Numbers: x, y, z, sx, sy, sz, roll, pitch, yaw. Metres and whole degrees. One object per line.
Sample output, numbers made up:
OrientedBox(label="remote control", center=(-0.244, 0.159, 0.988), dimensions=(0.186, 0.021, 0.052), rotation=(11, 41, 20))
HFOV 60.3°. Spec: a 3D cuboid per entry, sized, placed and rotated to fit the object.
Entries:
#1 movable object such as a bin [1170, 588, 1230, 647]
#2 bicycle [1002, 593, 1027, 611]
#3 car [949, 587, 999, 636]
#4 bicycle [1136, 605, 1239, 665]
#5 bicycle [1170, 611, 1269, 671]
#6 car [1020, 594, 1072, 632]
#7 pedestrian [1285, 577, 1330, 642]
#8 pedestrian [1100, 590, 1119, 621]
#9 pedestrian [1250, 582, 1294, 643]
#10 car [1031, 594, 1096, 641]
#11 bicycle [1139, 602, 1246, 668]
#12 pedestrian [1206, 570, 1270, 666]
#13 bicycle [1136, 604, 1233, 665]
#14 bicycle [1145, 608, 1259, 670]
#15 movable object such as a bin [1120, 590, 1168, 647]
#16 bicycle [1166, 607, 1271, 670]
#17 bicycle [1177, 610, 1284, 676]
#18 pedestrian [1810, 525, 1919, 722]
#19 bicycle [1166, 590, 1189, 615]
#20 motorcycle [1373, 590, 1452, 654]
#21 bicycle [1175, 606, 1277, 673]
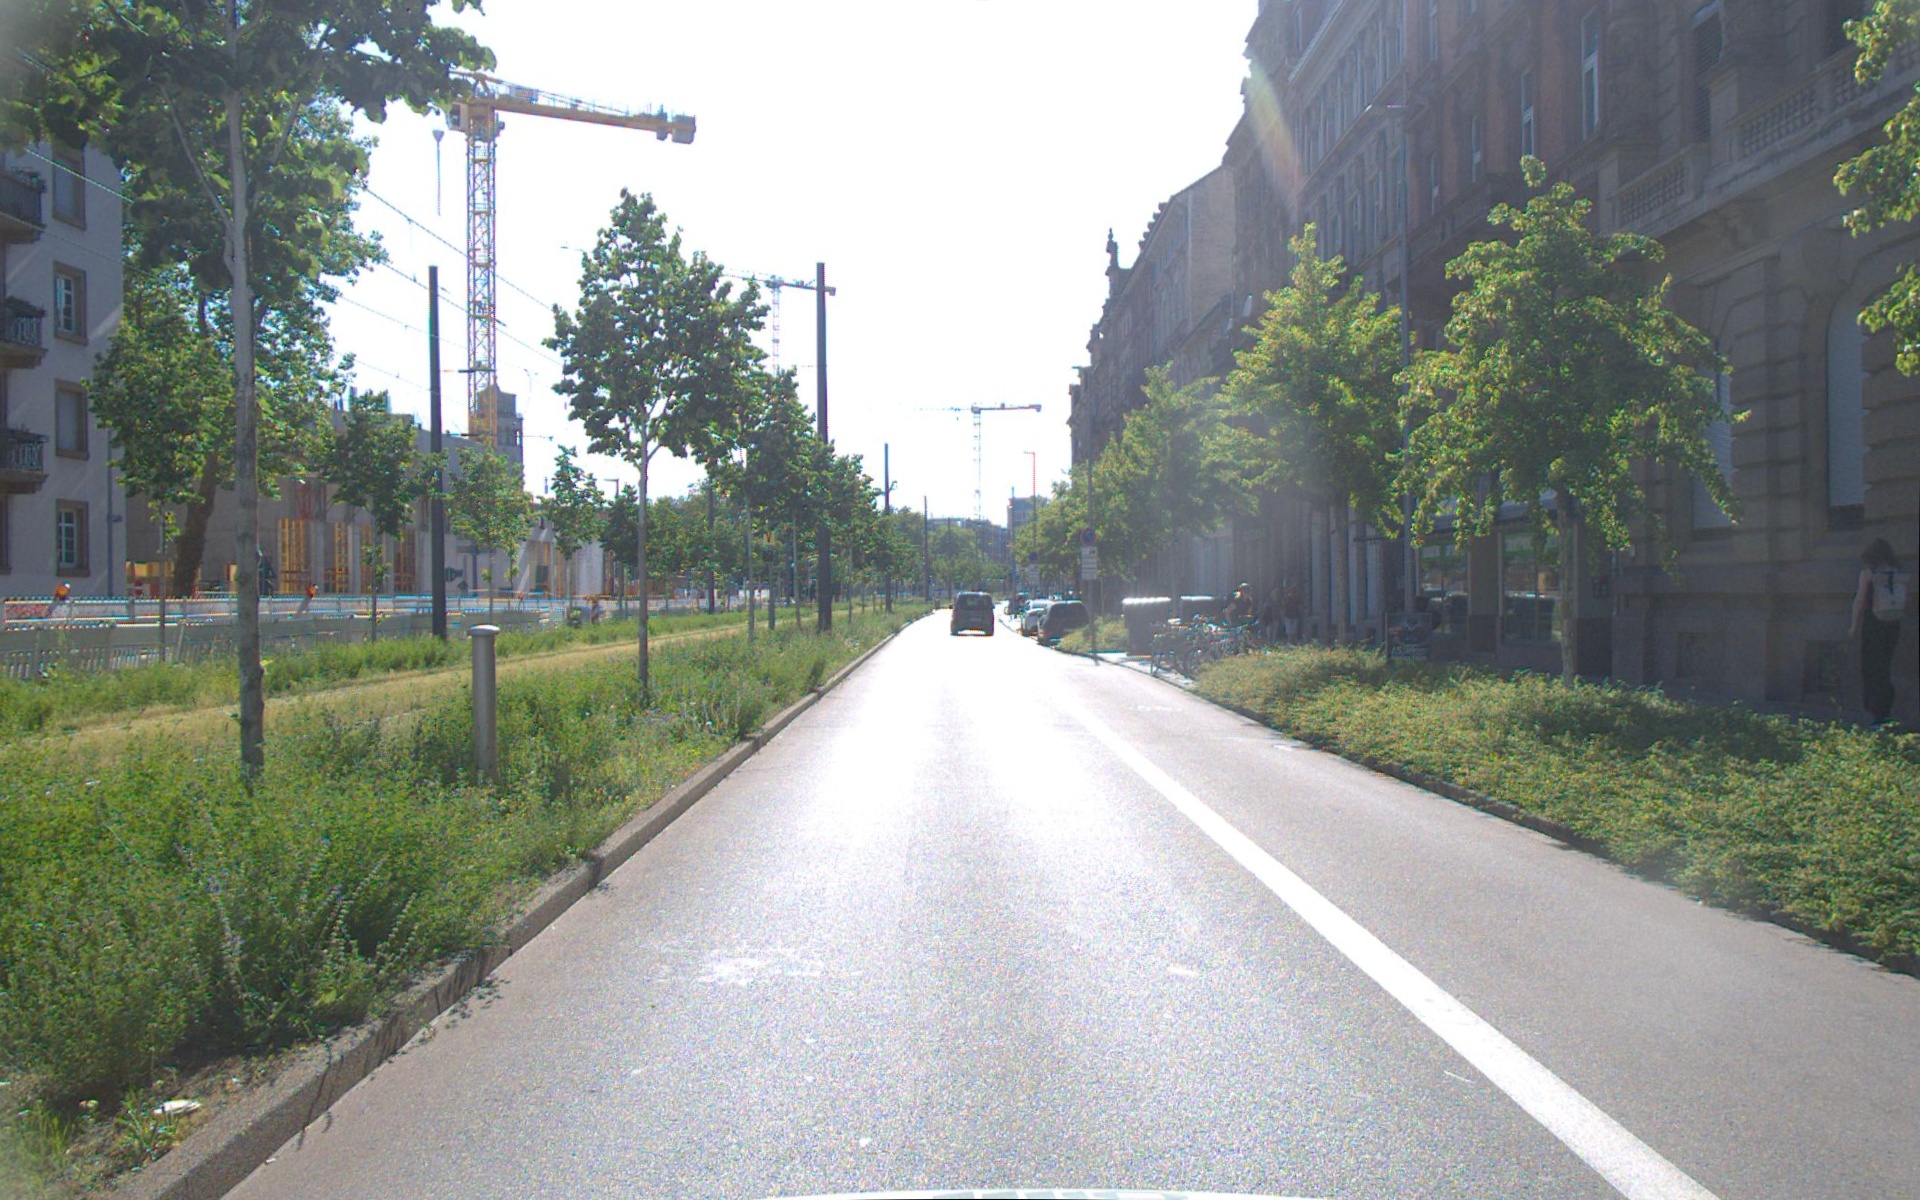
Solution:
OrientedBox(label="movable object such as a bin", center=(6.623, 0.471, 45.827), dimensions=(1.345, 1.521, 1.749), rotation=(-3, -1, 0))
OrientedBox(label="bicycle", center=(4.223, 0.147, 128.574), dimensions=(1.843, 1.255, 0.499), rotation=(-3, 0, -6))
OrientedBox(label="car", center=(0.564, 0.505, 71.681), dimensions=(1.954, 2.049, 3.998), rotation=(0, 0, -3))
OrientedBox(label="bicycle", center=(4.801, 0.728, 34.973), dimensions=(2.005, 1.126, 0.610), rotation=(-4, 0, -7))
OrientedBox(label="bicycle", center=(5.022, 0.778, 32.039), dimensions=(1.780, 1.074, 0.571), rotation=(-2, 0, -7))
OrientedBox(label="car", center=(3.650, 0.528, 71.199), dimensions=(1.912, 1.521, 5.104), rotation=(-2, 0, 0))
OrientedBox(label="pedestrian", center=(9.350, 0.246, 44.501), dimensions=(0.951, 1.667, 0.992), rotation=(-2, 1, -1))
OrientedBox(label="pedestrian", center=(8.584, 0.337, 94.952), dimensions=(0.975, 1.762, 0.866), rotation=(0, -1, -1))
OrientedBox(label="pedestrian", center=(8.387, 0.322, 44.542), dimensions=(0.931, 1.594, 1.080), rotation=(-2, 1, -1))
OrientedBox(label="car", center=(3.630, 0.611, 58.491), dimensions=(1.731, 1.502, 4.446), rotation=(-3, 0, -3))
OrientedBox(label="bicycle", center=(4.761, 0.704, 33.889), dimensions=(2.111, 1.174, 0.428), rotation=(-4, 0, -15))
OrientedBox(label="pedestrian", center=(5.407, 0.347, 32.215), dimensions=(0.883, 1.766, 0.848), rotation=(-4, 0, -8))
OrientedBox(label="bicycle", center=(4.791, 0.733, 35.381), dimensions=(1.937, 1.143, 0.481), rotation=(-4, 1, -6))
OrientedBox(label="bicycle", center=(4.903, 0.782, 33.546), dimensions=(2.247, 1.121, 0.484), rotation=(-3, 0, -15))
OrientedBox(label="movable object such as a bin", center=(5.061, 0.491, 45.632), dimensions=(1.244, 1.488, 1.645), rotation=(1, 2, 4))
OrientedBox(label="bicycle", center=(5.061, 0.747, 32.383), dimensions=(1.938, 1.127, 0.435), rotation=(-3, 0, -4))
OrientedBox(label="bicycle", center=(4.994, 0.784, 30.566), dimensions=(1.855, 1.128, 0.517), rotation=(-2, 0, -6))
OrientedBox(label="pedestrian", center=(9.517, 0.227, 17.083), dimensions=(0.871, 1.953, 1.098), rotation=(-3, 0, 4))
OrientedBox(label="bicycle", center=(9.859, 0.117, 75.042), dimensions=(0.706, 1.109, 2.198), rotation=(-2, 0, 0))
OrientedBox(label="motorcycle", center=(9.651, 0.461, 35.386), dimensions=(0.848, 1.288, 2.981), rotation=(0, 0, -1))
OrientedBox(label="bicycle", center=(4.970, 0.726, 30.920), dimensions=(1.829, 1.199, 0.373), rotation=(-1, -1, -4))
